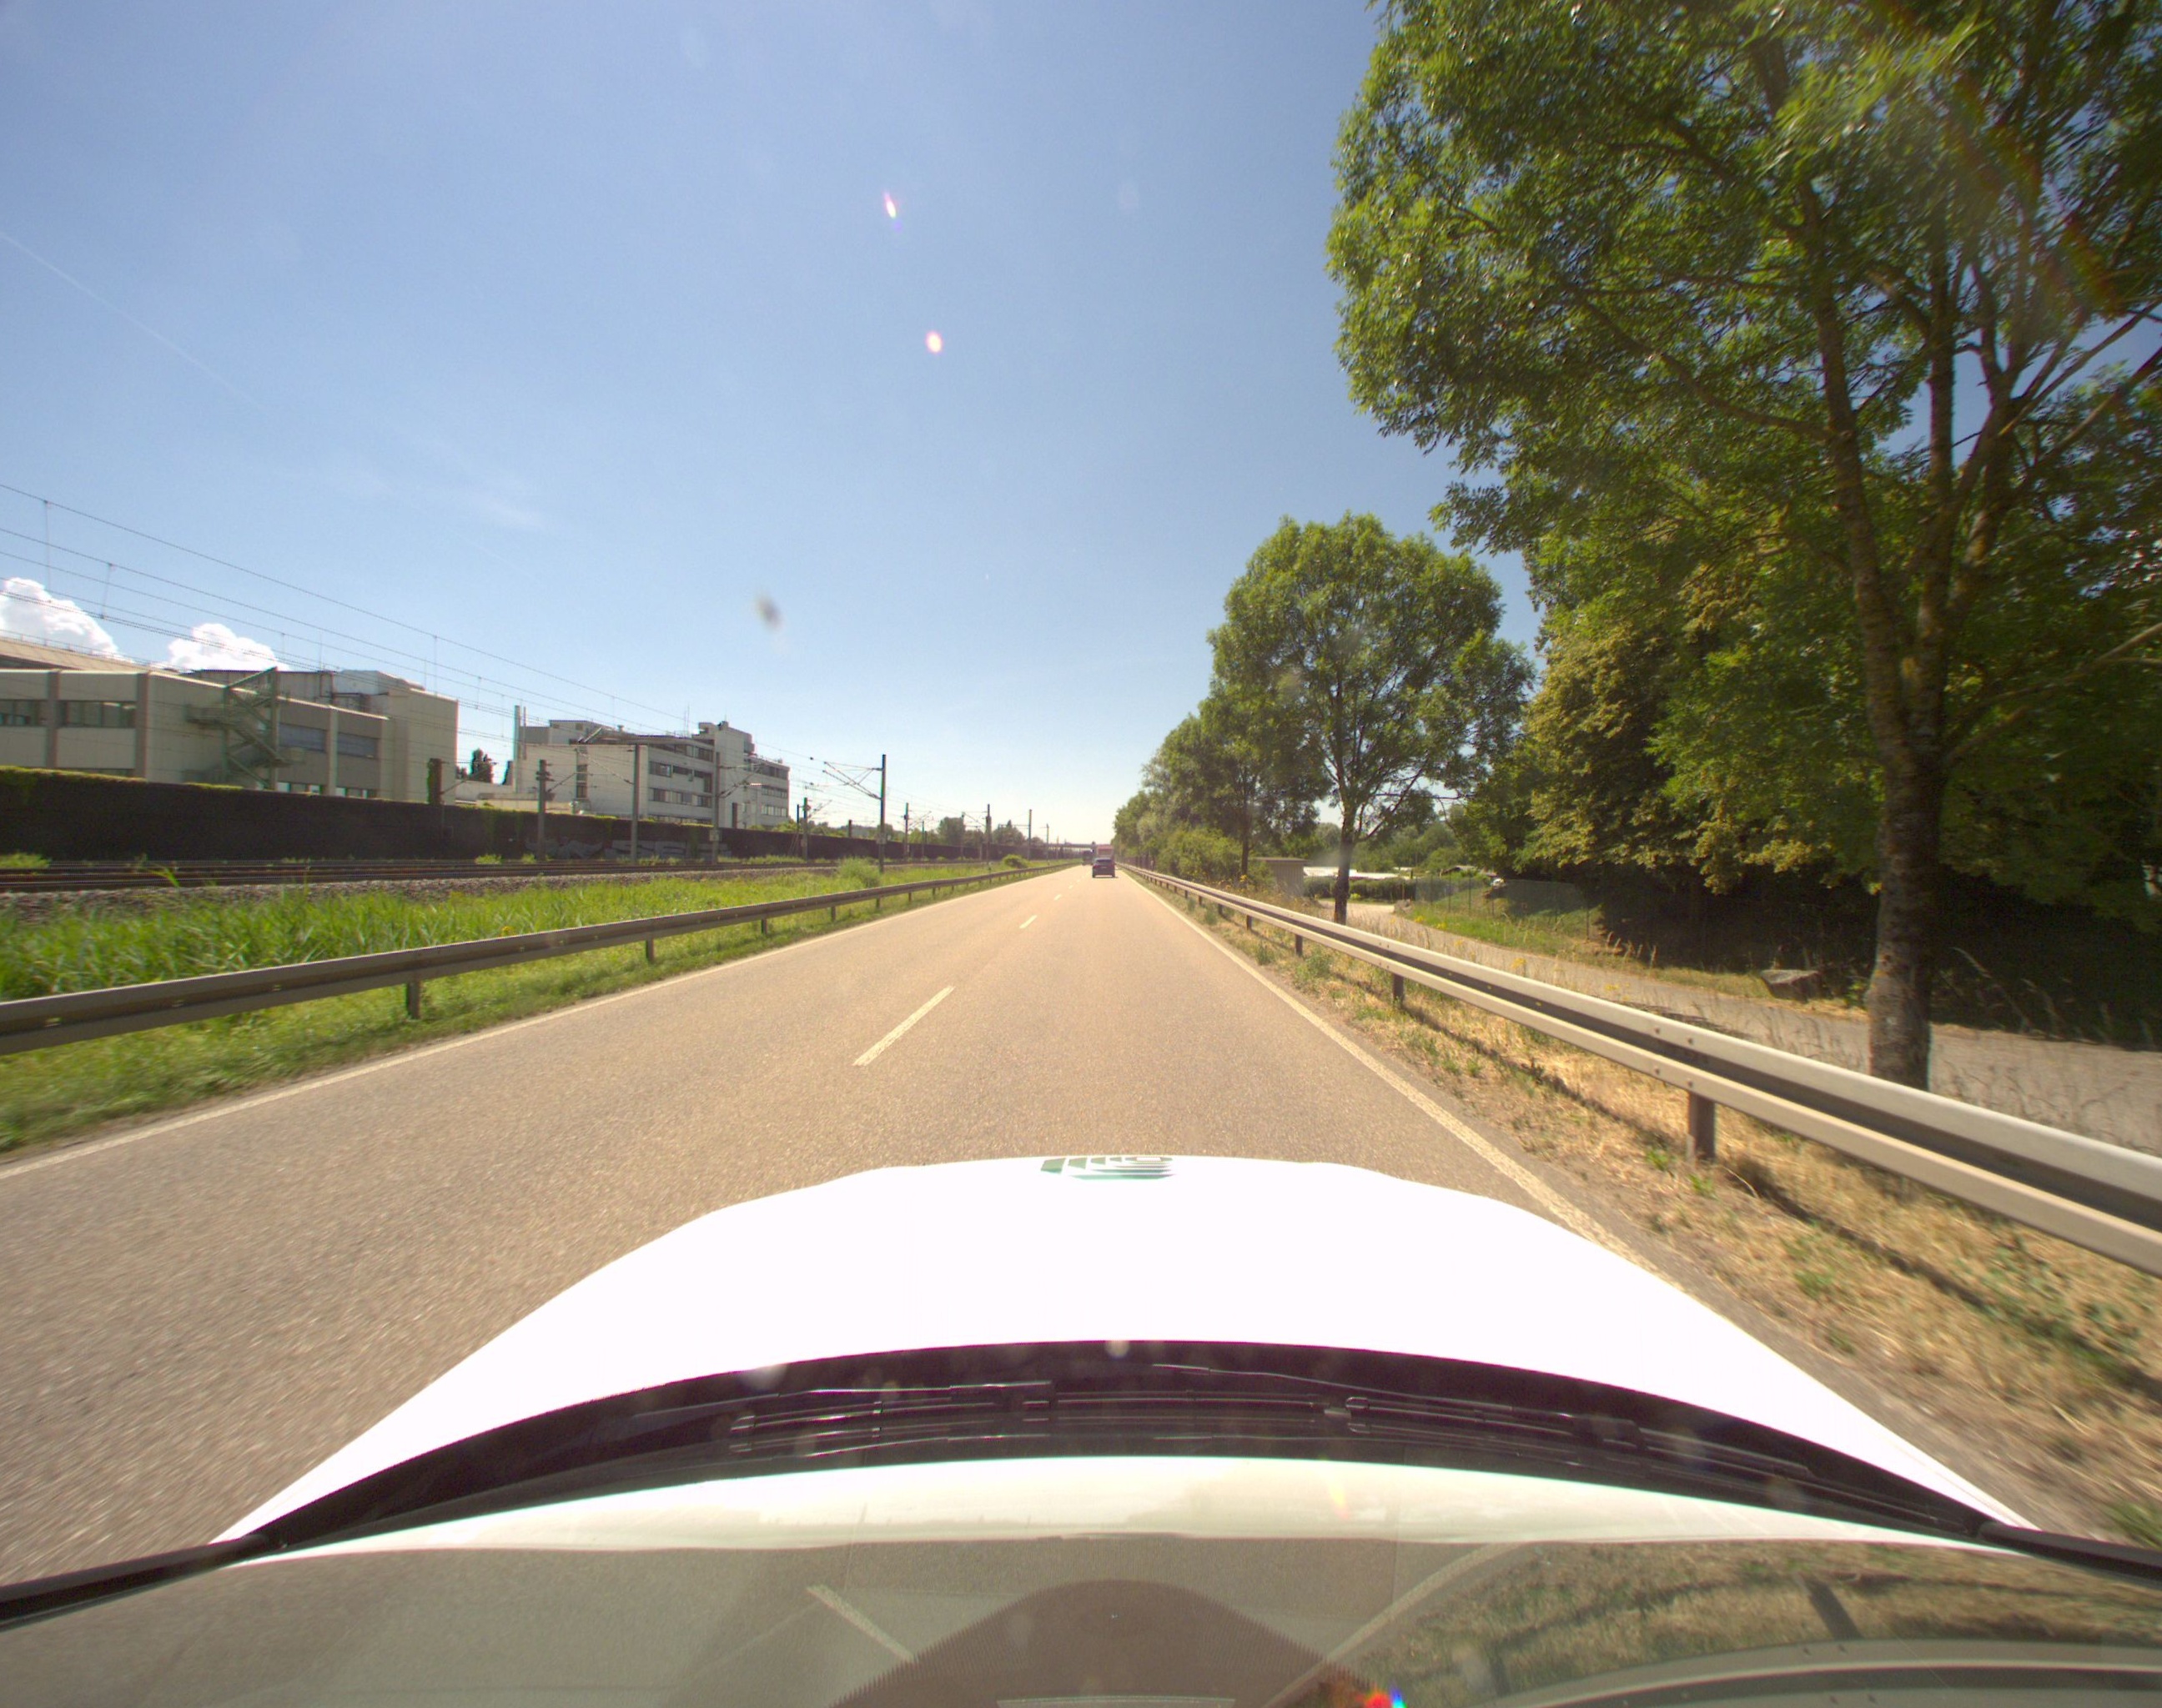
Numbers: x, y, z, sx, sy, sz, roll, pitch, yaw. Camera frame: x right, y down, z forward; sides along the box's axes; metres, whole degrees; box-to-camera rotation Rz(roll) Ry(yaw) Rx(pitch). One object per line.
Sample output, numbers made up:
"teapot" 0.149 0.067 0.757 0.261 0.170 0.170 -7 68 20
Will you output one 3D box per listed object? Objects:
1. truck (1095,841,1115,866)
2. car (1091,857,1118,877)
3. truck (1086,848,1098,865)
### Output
"truck" 3.436 -0.080 117.988 2.760 3.425 10.823 0 0 2
"car" 1.842 1.022 64.973 1.987 1.508 3.999 -1 0 -1
"truck" 2.502 0.575 185.315 2.649 3.627 10.978 0 0 1
